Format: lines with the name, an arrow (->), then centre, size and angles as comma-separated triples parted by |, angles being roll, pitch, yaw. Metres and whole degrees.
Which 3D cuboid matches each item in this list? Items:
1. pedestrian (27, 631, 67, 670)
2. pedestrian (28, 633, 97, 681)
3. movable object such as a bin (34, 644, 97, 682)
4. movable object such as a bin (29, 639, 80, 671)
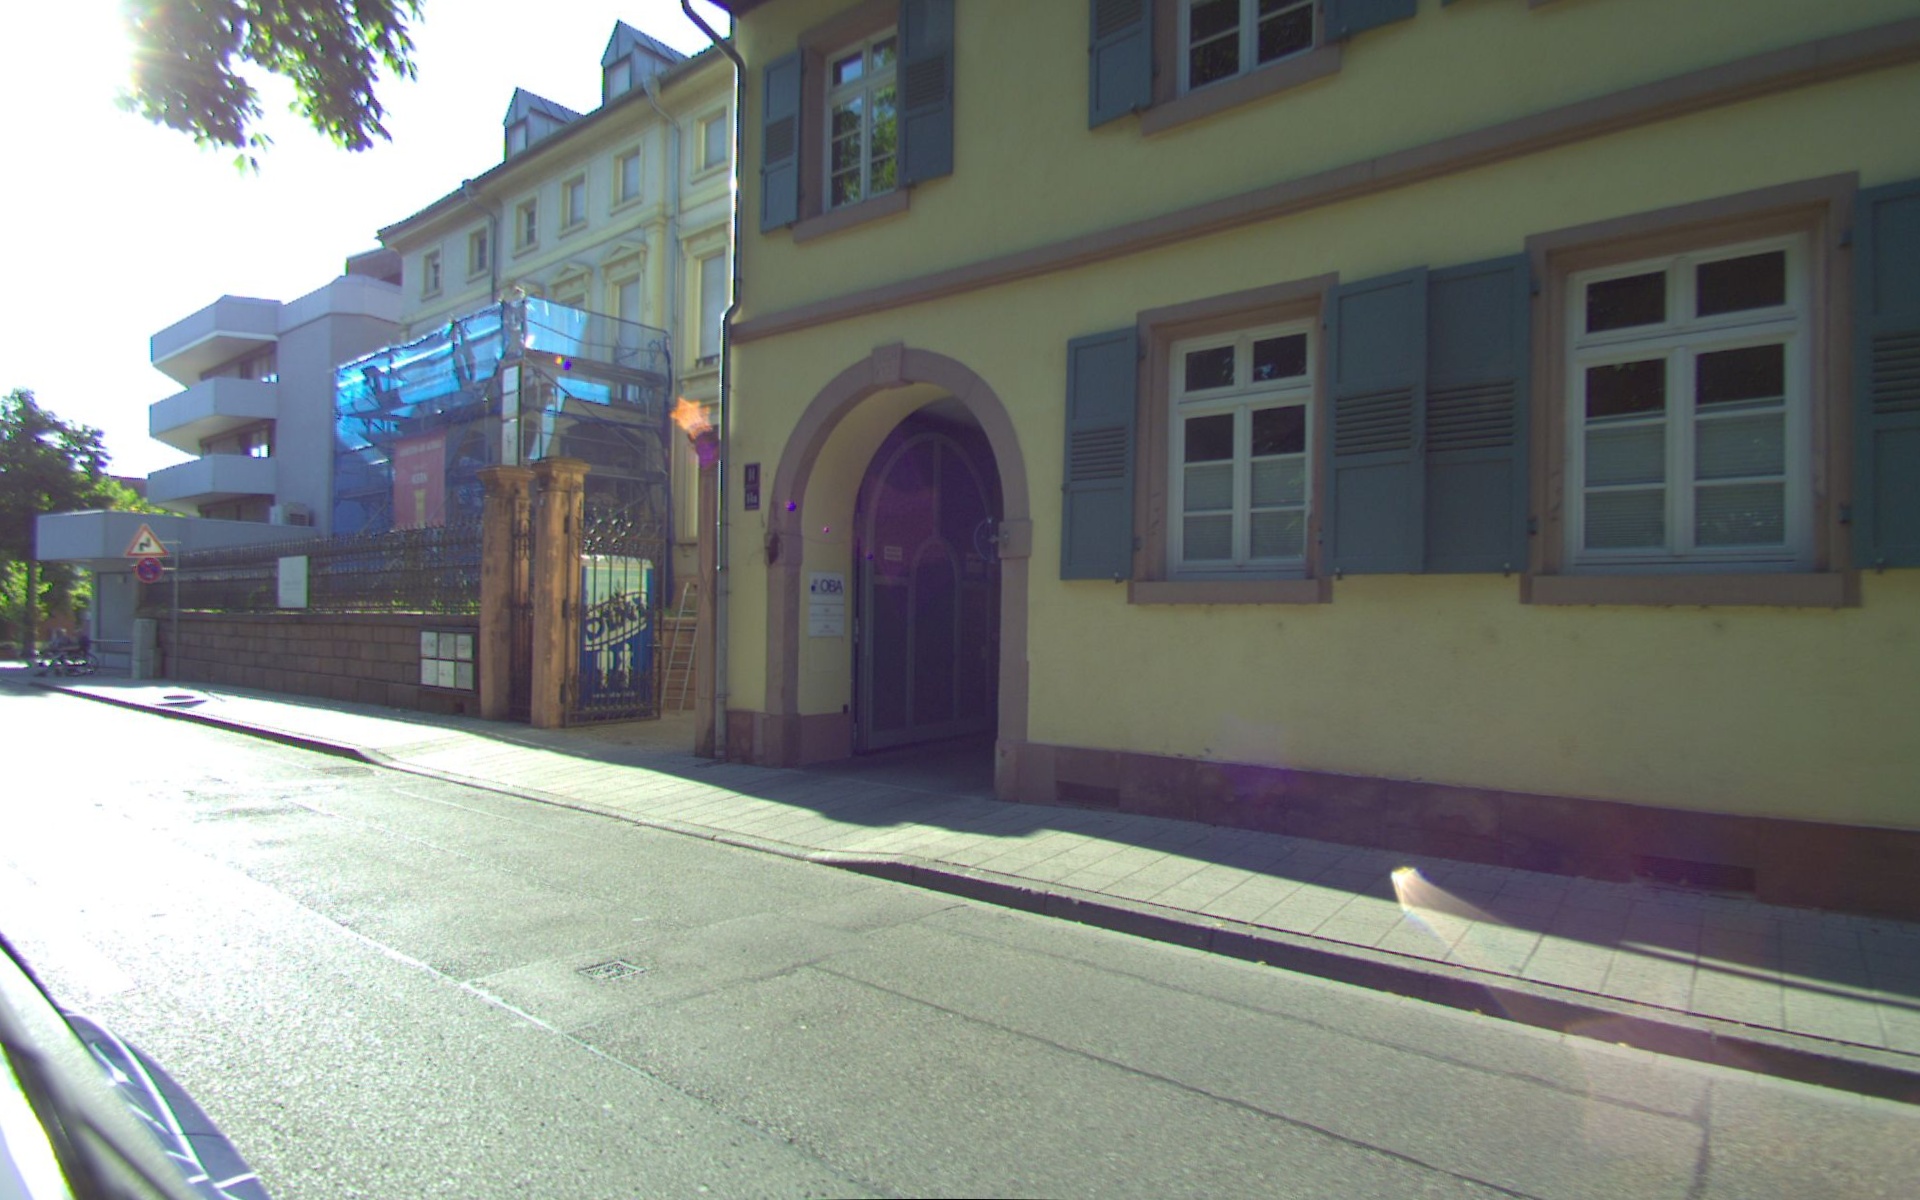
pedestrian -> -29.056, 1.597, 32.217 | 0.838, 1.194, 0.735 | -1, 0, 32
pedestrian -> -24.494, 1.538, 27.641 | 1.138, 1.238, 0.843 | -1, 0, -16
movable object such as a bin -> -24.428, 1.712, 27.654 | 1.020, 0.935, 0.843 | -1, 0, -16
movable object such as a bin -> -28.958, 1.756, 32.356 | 0.838, 0.935, 1.027 | -1, 0, 32
